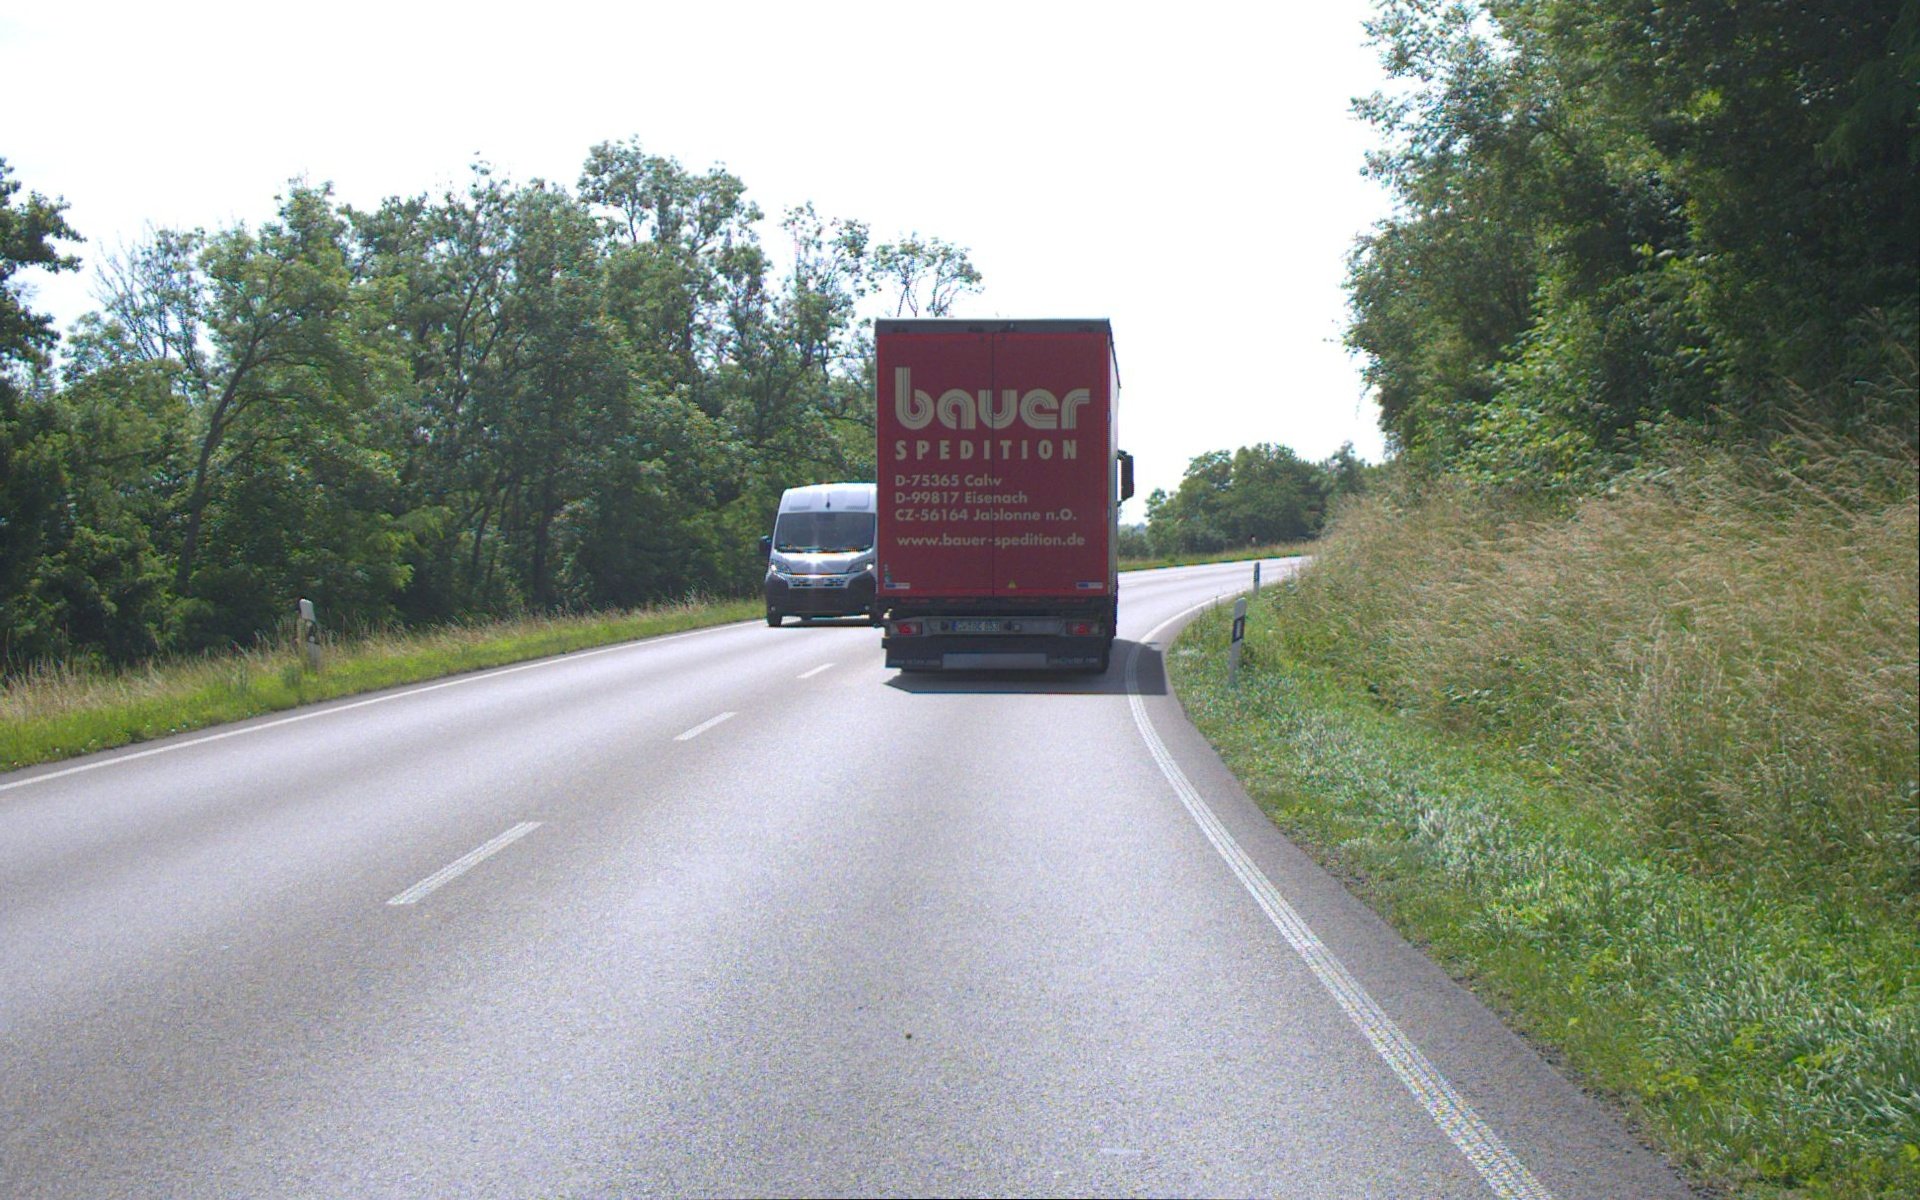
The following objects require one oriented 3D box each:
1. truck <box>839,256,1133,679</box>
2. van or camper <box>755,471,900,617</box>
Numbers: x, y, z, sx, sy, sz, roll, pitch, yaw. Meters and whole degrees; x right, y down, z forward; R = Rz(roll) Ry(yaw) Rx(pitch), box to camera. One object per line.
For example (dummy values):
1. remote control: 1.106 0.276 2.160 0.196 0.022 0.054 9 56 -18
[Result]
1. truck: 0.362 -1.513 42.683 3.112 4.490 12.168 0 1 1
2. van or camper: -2.356 -1.015 62.725 2.208 2.519 6.133 0 1 2
